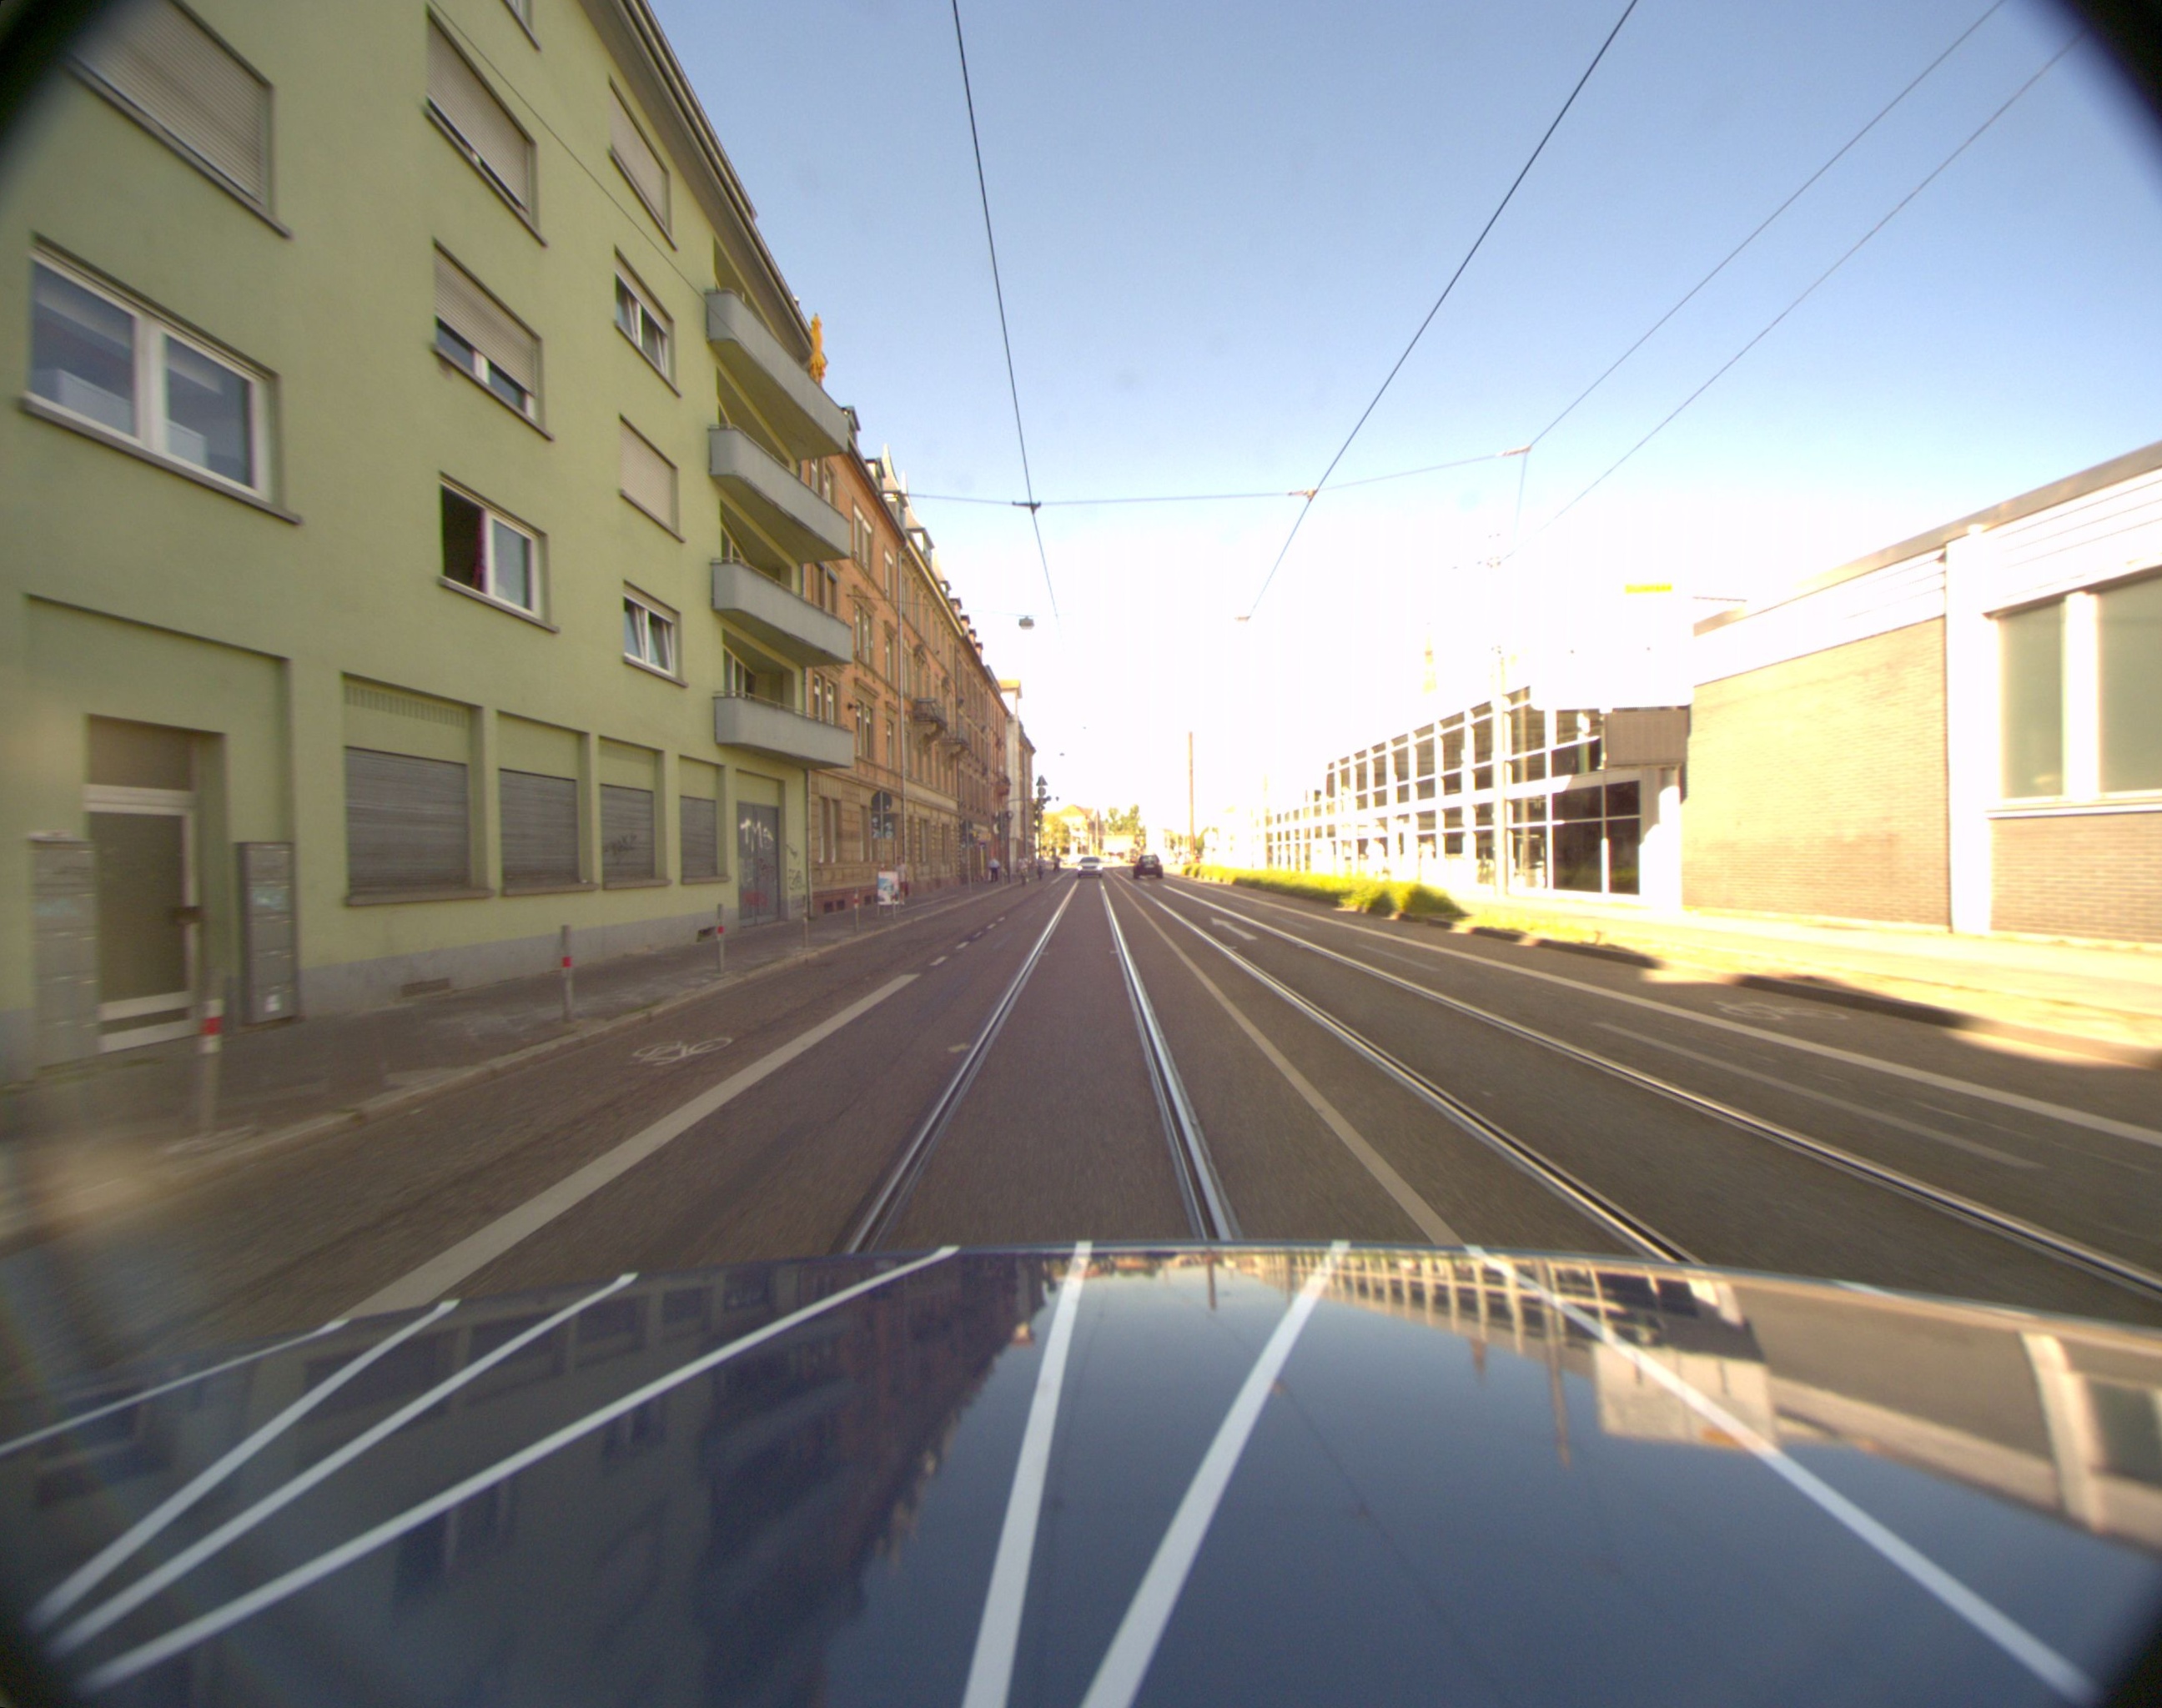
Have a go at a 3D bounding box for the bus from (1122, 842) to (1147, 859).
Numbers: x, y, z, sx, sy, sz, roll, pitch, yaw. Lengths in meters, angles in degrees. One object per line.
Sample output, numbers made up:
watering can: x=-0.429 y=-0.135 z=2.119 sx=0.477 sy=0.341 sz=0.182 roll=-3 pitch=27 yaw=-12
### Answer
bus: x=12.278 y=-0.859 z=173.471 sx=2.844 sy=3.568 sz=11.285 roll=-2 pitch=0 yaw=18

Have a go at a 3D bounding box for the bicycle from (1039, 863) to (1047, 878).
bicycle: x=-2.823 y=1.219 z=56.237 sx=0.387 sy=1.062 sz=1.934 roll=-1 pitch=0 yaw=3

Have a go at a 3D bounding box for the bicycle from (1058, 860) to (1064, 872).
bicycle: x=-2.148 y=1.286 z=81.758 sx=0.533 sy=1.152 sz=1.865 roll=-2 pitch=1 yaw=0

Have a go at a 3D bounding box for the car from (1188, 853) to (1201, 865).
car: x=16.382 y=0.686 z=109.797 sx=1.803 sy=1.709 sz=4.418 roll=-1 pitch=1 yaw=7

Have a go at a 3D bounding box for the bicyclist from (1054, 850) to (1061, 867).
bicyclist: x=-2.258 y=0.410 z=73.217 sx=0.551 sy=1.604 sz=0.953 roll=-3 pitch=1 yaw=1

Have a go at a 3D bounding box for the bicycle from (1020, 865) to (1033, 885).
bicycle: x=-3.167 y=1.191 z=44.103 sx=0.533 sy=1.110 sz=1.934 roll=-3 pitch=-1 yaw=1

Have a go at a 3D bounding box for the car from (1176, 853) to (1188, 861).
car: x=18.003 y=0.496 z=135.830 sx=1.653 sy=1.470 sz=3.971 roll=0 pitch=0 yaw=2

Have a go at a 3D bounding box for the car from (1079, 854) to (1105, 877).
car: x=0.796 y=0.849 z=57.781 sx=1.869 sy=1.635 sz=4.396 roll=-1 pitch=0 yaw=-1

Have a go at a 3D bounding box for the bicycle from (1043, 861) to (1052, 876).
bicycle: x=-2.716 y=1.120 z=60.990 sx=0.533 sy=1.111 sz=1.933 roll=-1 pitch=1 yaw=2

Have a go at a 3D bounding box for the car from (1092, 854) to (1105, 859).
car: x=4.661 y=0.632 z=202.446 sx=1.915 sy=1.449 sz=4.591 roll=-2 pitch=1 yaw=-21

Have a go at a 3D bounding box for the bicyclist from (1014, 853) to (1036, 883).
bicyclist: x=-3.237 y=0.793 z=43.967 sx=0.681 sy=1.674 sz=1.122 roll=-2 pitch=1 yaw=27

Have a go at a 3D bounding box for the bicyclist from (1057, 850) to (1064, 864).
bicyclist: x=-2.189 y=0.323 z=81.876 sx=0.675 sy=1.413 sz=1.036 roll=-3 pitch=1 yaw=0

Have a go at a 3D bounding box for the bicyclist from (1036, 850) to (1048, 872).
bicyclist: x=-2.896 y=0.527 z=56.275 sx=0.784 sy=1.584 sz=0.886 roll=-1 pitch=0 yaw=3

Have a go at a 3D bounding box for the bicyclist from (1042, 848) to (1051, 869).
bicyclist: x=-2.768 y=0.335 z=61.102 sx=0.625 sy=1.604 sz=0.981 roll=-3 pitch=1 yaw=2

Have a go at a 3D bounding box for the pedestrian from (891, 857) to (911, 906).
pedestrian: x=-6.191 y=0.939 z=26.180 sx=0.554 sy=1.691 sz=0.474 roll=1 pitch=1 yaw=1

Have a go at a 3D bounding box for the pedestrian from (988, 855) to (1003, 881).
pedestrian: x=-5.378 y=0.896 z=48.056 sx=0.800 sy=1.596 sz=0.652 roll=-1 pitch=1 yaw=3

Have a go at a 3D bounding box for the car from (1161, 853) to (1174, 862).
car: x=14.991 y=0.600 z=131.407 sx=1.807 sy=1.424 sz=4.540 roll=-3 pitch=1 yaw=2

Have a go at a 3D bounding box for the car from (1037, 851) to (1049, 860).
car: x=-12.240 y=0.565 z=244.527 sx=2.246 sy=2.665 sz=5.296 roll=-3 pitch=1 yaw=-23

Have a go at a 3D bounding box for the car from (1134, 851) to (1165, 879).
car: x=4.552 y=0.701 z=50.808 sx=1.763 sy=1.687 sz=4.144 roll=-3 pitch=1 yaw=2

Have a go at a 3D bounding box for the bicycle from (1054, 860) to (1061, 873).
bicycle: x=-2.230 y=1.178 z=72.857 sx=0.533 sy=1.111 sz=1.933 roll=-3 pitch=1 yaw=1

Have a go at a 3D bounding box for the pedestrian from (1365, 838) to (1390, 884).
pedestrian: x=11.692 y=0.282 z=30.018 sx=0.528 sy=1.754 sz=1.051 roll=-3 pitch=1 yaw=1

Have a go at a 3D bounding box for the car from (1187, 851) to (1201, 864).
car: x=17.327 y=0.512 z=116.984 sx=1.807 sy=1.922 sz=4.165 roll=-1 pitch=1 yaw=3
